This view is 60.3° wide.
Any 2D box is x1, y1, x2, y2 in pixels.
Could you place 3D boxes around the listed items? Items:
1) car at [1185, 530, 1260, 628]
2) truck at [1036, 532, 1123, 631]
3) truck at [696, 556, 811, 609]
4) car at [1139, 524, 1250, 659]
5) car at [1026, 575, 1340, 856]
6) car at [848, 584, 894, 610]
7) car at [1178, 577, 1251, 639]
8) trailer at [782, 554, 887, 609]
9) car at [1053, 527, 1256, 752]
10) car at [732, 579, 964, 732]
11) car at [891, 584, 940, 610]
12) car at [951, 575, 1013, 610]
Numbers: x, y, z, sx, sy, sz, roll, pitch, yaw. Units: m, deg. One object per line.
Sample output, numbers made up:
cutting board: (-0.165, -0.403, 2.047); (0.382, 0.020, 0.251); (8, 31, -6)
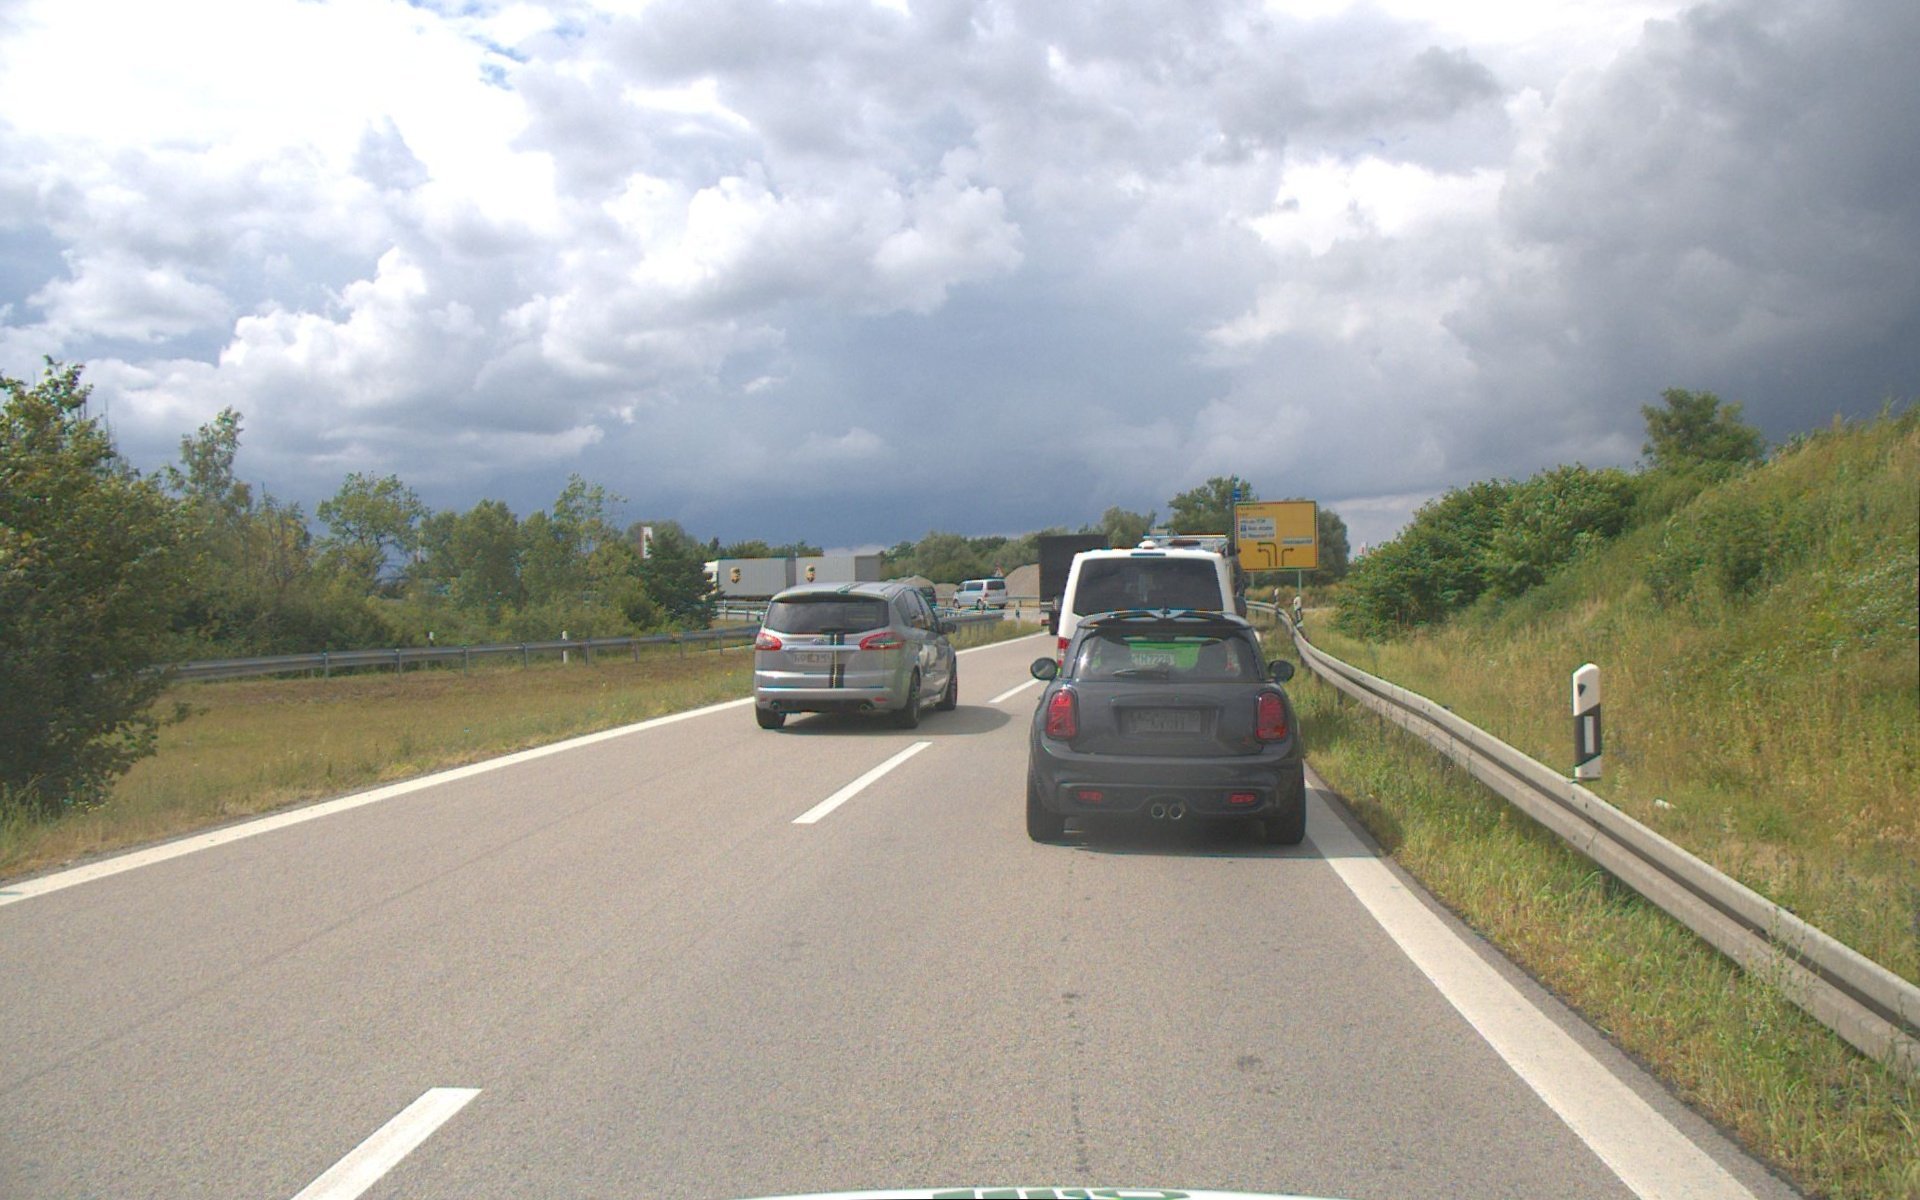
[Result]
car: (8.997, -0.636, 56.253); (2.261, 3.122, 6.667); (1, -1, 11)
truck: (4.285, -0.553, 58.003); (2.506, 3.223, 7.473); (1, -1, 8)
truck: (-16.583, -1.360, 132.058); (9.830, 4.046, 2.834); (0, -1, 36)
car: (5.086, -0.128, 35.865); (2.164, 2.668, 5.538); (1, -1, 8)
car: (1.418, 0.652, 11.269); (1.762, 1.573, 3.740); (0, 0, 5)
car: (-6.394, -0.195, 118.276); (1.791, 1.786, 3.964); (1, -1, -27)
car: (7.268, 0.242, 47.401); (1.951, 1.671, 3.931); (1, -1, 8)
trailer: (-9.622, -1.366, 126.107); (8.624, 3.966, 3.024); (0, -1, 45)
car: (2.053, 0.379, 17.514); (1.870, 2.081, 4.184); (0, 0, 7)
car: (-1.201, 0.622, 19.933); (1.978, 1.605, 4.590); (-1, -1, 6)
car: (-3.259, -0.210, 120.327); (1.899, 1.870, 4.279); (1, -1, -27)
car: (1.472, -0.503, 112.839); (2.260, 2.300, 5.067); (1, -1, -25)
